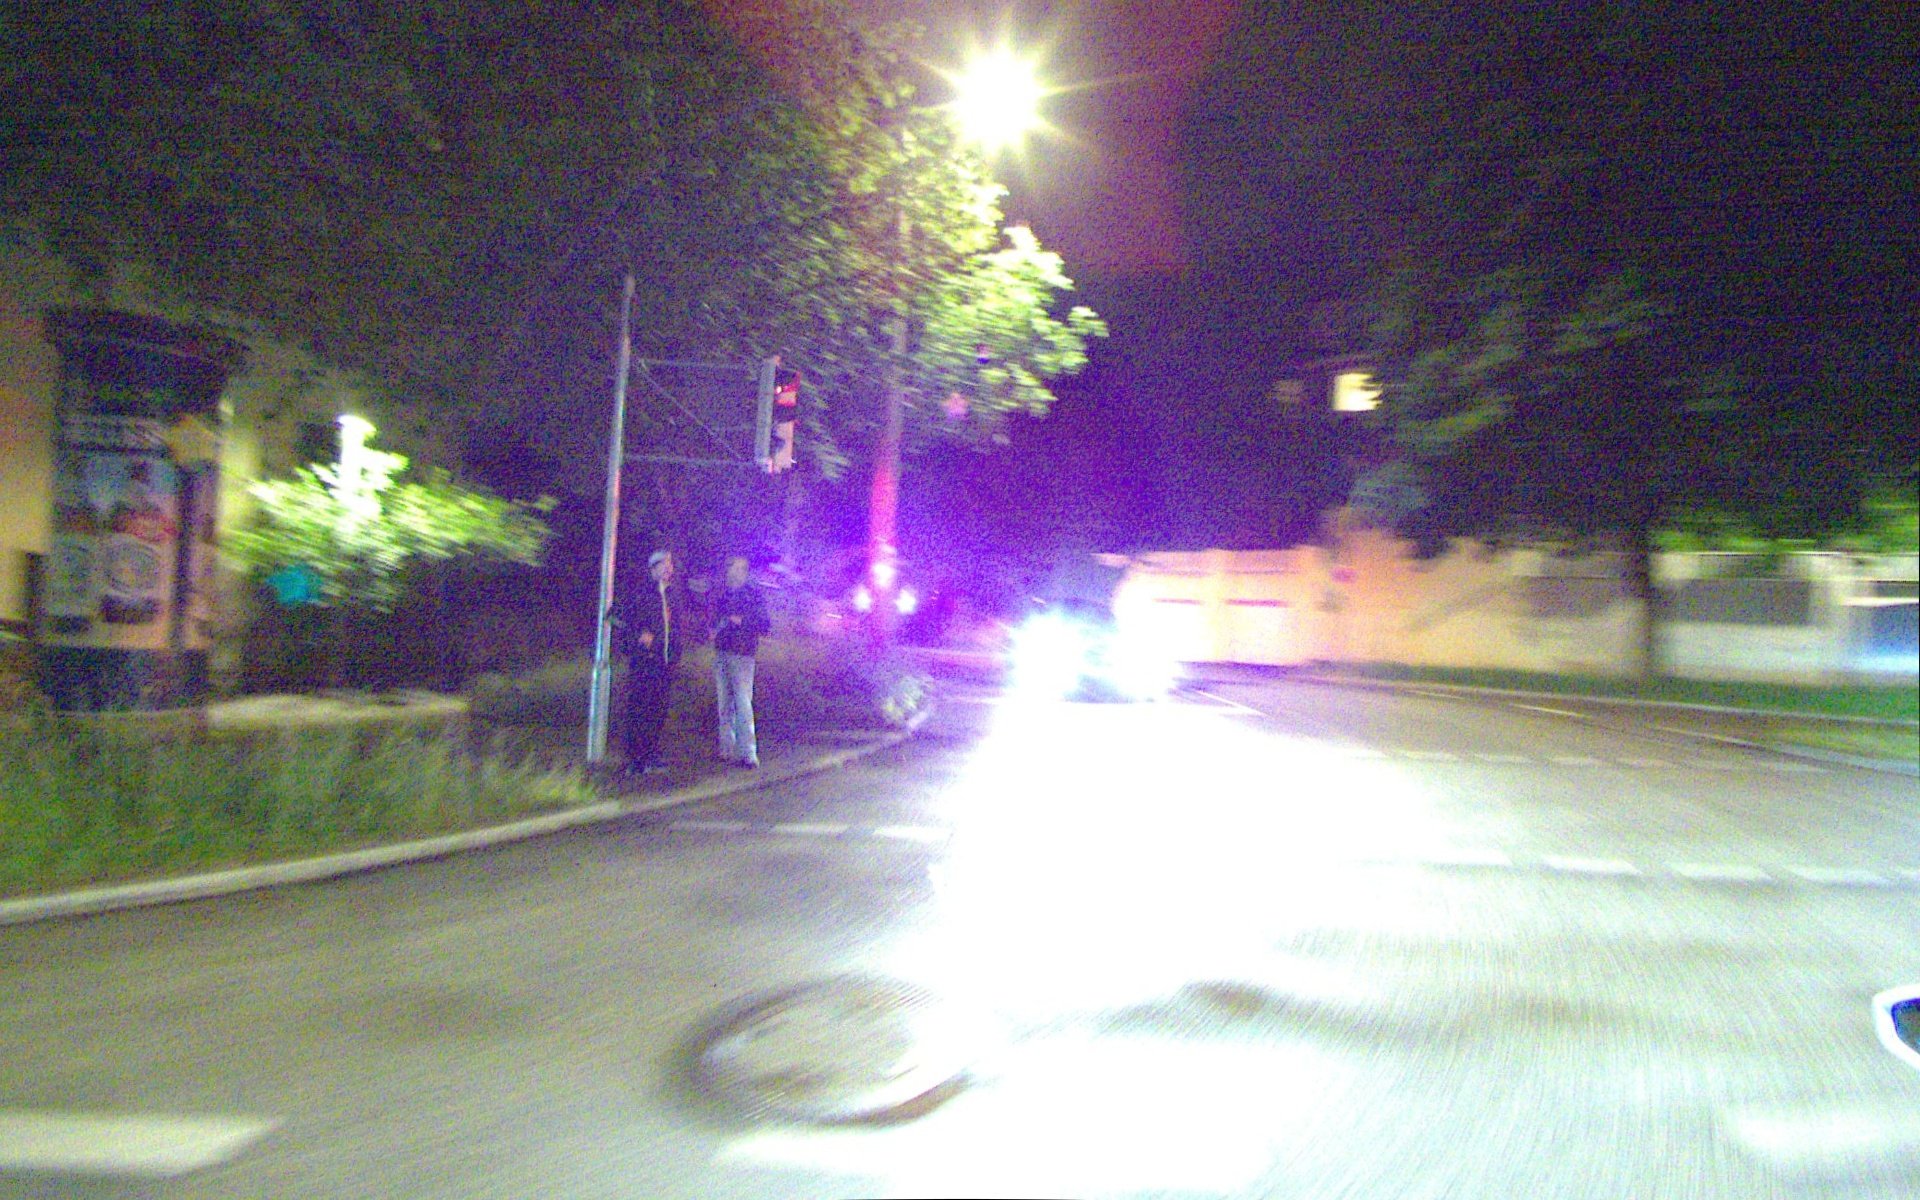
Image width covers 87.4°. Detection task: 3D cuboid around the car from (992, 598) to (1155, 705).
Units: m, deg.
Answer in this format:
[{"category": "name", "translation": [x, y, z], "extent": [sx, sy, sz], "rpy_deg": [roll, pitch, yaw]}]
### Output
[{"category": "car", "translation": [1.655, 0.714, 16.115], "extent": [1.699, 1.449, 4.285], "rpy_deg": [1, 0, -6]}]

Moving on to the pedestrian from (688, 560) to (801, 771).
[{"category": "pedestrian", "translation": [-1.917, 0.553, 9.057], "extent": [0.714, 1.793, 0.966], "rpy_deg": [1, 1, 7]}]

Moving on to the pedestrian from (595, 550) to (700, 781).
[{"category": "pedestrian", "translation": [-2.573, 0.509, 8.307], "extent": [0.513, 1.816, 0.692], "rpy_deg": [1, 1, 21]}]
